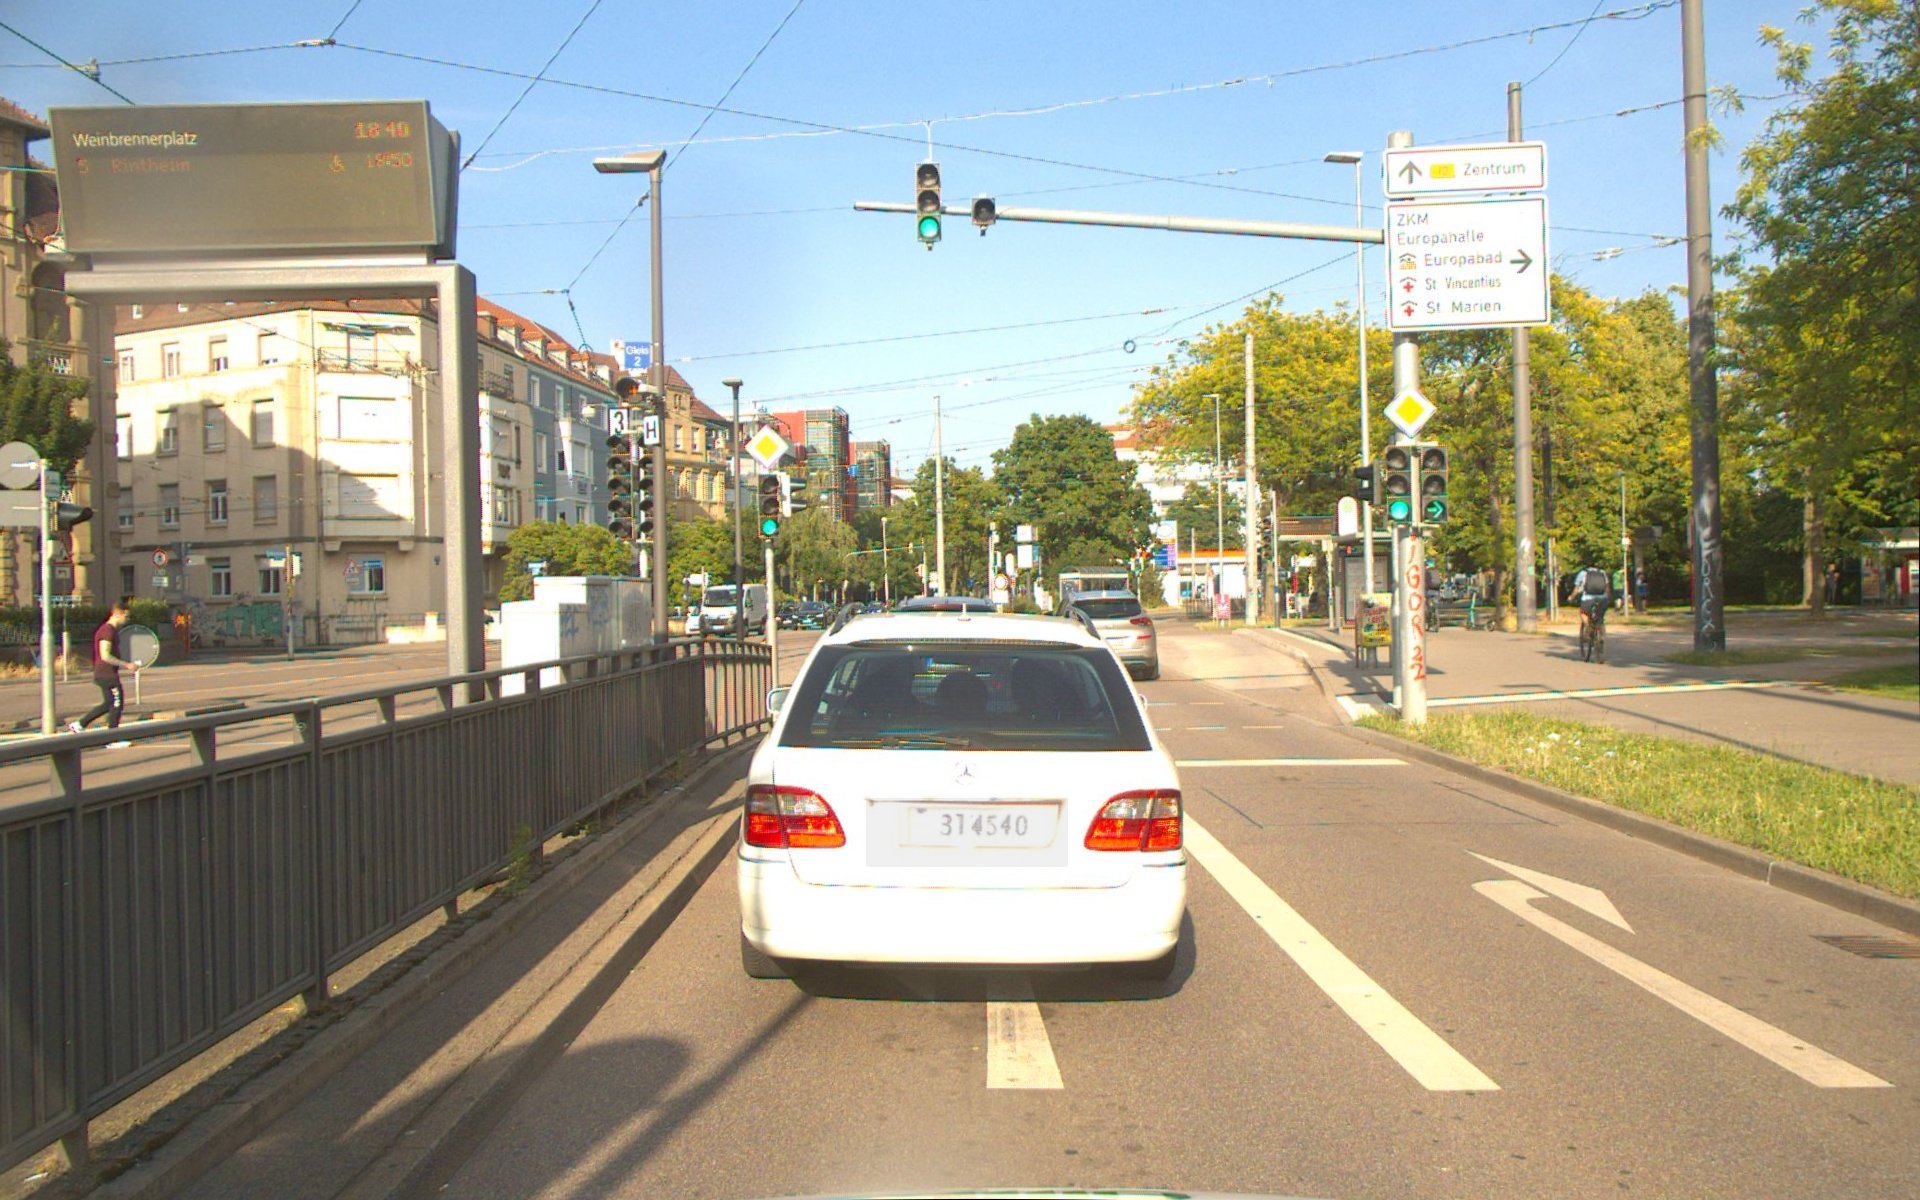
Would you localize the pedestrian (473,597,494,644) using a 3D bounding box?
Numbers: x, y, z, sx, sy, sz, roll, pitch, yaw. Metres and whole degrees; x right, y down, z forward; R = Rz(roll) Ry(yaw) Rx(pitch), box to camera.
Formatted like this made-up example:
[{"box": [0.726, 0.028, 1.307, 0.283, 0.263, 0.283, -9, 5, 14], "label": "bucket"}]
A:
[{"box": [-19.511, 0.837, 67.738, 0.661, 1.880, 0.649, -1, 0, -3], "label": "pedestrian"}]

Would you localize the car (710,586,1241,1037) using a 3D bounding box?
[{"box": [0.031, 0.720, 7.527, 1.798, 1.527, 3.814, 0, 0, -1], "label": "car"}]

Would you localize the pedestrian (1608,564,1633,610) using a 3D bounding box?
[{"box": [24.612, -0.475, 61.659, 0.628, 1.694, 0.690, -1, 0, -1], "label": "pedestrian"}]

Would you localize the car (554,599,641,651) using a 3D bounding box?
[{"box": [-12.044, 0.796, 55.210, 1.641, 1.552, 4.127, -1, 1, 5], "label": "car"}]

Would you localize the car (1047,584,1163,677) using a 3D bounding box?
[{"box": [2.653, 0.544, 31.120, 1.798, 1.628, 3.814, 0, 0, -1], "label": "car"}]

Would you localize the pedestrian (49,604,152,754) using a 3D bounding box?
[{"box": [-10.065, 0.905, 19.396, 0.864, 1.699, 0.670, -1, 0, -9], "label": "pedestrian"}]

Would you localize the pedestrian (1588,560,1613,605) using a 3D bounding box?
[{"box": [24.342, -0.663, 62.830, 0.628, 1.694, 0.690, -1, 0, -1], "label": "pedestrian"}]

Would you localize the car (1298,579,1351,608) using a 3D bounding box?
[{"box": [20.521, -0.380, 93.126, 1.818, 1.542, 3.994, -3, 0, 29], "label": "car"}]

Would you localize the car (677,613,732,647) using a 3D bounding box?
[{"box": [-12.180, 1.422, 79.019, 1.756, 1.482, 4.002, -2, 0, 3], "label": "car"}]

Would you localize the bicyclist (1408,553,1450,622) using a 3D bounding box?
[{"box": [12.482, -0.325, 44.018, 0.705, 1.776, 1.140, -4, 0, 3], "label": "bicyclist"}]

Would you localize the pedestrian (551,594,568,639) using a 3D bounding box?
[{"box": [-17.281, 0.693, 71.347, 0.572, 1.914, 0.626, -1, 0, -1], "label": "pedestrian"}]

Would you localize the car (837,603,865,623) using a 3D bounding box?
[{"box": [-8.324, 0.995, 126.731, 1.654, 1.466, 4.002, -2, 0, 3], "label": "car"}]

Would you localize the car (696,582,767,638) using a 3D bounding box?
[{"box": [-9.879, 0.406, 71.904, 2.132, 2.278, 5.254, -1, 0, 1], "label": "car"}]

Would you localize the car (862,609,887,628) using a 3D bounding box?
[{"box": [-7.141, 1.541, 138.366, 1.653, 1.445, 4.001, -2, -1, 3], "label": "car"}]

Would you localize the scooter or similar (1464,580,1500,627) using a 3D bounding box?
[{"box": [14.004, 0.098, 44.396, 0.345, 1.253, 1.131, -1, 0, -15], "label": "scooter or similar"}]

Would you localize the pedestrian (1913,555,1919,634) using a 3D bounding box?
[{"box": [22.495, -0.124, 37.926, 0.661, 1.808, 0.875, 1, 0, -20], "label": "pedestrian"}]

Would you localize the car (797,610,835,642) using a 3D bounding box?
[{"box": [-7.972, 1.436, 91.965, 1.731, 1.520, 4.743, -2, 1, -1], "label": "car"}]

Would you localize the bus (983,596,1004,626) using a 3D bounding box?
[{"box": [2.971, 0.976, 144.790, 1.760, 2.600, 4.000, 1, -1, 1], "label": "bus"}]

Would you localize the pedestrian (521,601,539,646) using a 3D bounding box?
[{"box": [-18.438, 0.990, 70.986, 0.572, 1.914, 0.626, -1, 0, -1], "label": "pedestrian"}]

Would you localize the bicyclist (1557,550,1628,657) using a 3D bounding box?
[{"box": [11.018, 0.060, 28.835, 0.636, 1.776, 1.140, -4, 0, -2], "label": "bicyclist"}]

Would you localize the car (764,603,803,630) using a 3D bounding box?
[{"box": [-10.562, 0.975, 99.103, 1.730, 1.458, 4.001, -2, 0, 1], "label": "car"}]

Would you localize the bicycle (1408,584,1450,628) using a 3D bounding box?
[{"box": [12.497, 0.155, 44.111, 0.627, 1.107, 1.734, -4, 0, 3], "label": "bicycle"}]

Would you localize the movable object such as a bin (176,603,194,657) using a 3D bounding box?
[{"box": [-25.510, 0.969, 54.421, 0.261, 1.739, 2.357, -1, 0, -31], "label": "movable object such as a bin"}]

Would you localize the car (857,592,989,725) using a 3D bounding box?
[{"box": [-0.481, 0.724, 22.237, 1.608, 1.628, 3.814, 0, 0, -1], "label": "car"}]

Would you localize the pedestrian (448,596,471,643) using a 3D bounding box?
[{"box": [-20.639, 0.800, 68.218, 0.644, 1.914, 0.627, -1, 0, 14], "label": "pedestrian"}]

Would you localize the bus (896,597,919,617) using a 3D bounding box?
[{"box": [-4.458, 0.584, 139.829, 1.807, 1.665, 4.158, -1, 0, -1], "label": "bus"}]

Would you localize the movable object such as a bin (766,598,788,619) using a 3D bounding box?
[{"box": [-13.465, 0.627, 121.537, 1.573, 1.446, 1.083, -2, 0, -8], "label": "movable object such as a bin"}]

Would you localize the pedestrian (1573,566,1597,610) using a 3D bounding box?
[{"box": [24.060, -0.463, 63.672, 0.628, 1.638, 0.690, -1, 0, -1], "label": "pedestrian"}]

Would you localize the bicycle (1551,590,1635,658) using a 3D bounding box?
[{"box": [11.043, 0.411, 28.908, 0.627, 1.107, 1.939, -4, 0, -1], "label": "bicycle"}]
